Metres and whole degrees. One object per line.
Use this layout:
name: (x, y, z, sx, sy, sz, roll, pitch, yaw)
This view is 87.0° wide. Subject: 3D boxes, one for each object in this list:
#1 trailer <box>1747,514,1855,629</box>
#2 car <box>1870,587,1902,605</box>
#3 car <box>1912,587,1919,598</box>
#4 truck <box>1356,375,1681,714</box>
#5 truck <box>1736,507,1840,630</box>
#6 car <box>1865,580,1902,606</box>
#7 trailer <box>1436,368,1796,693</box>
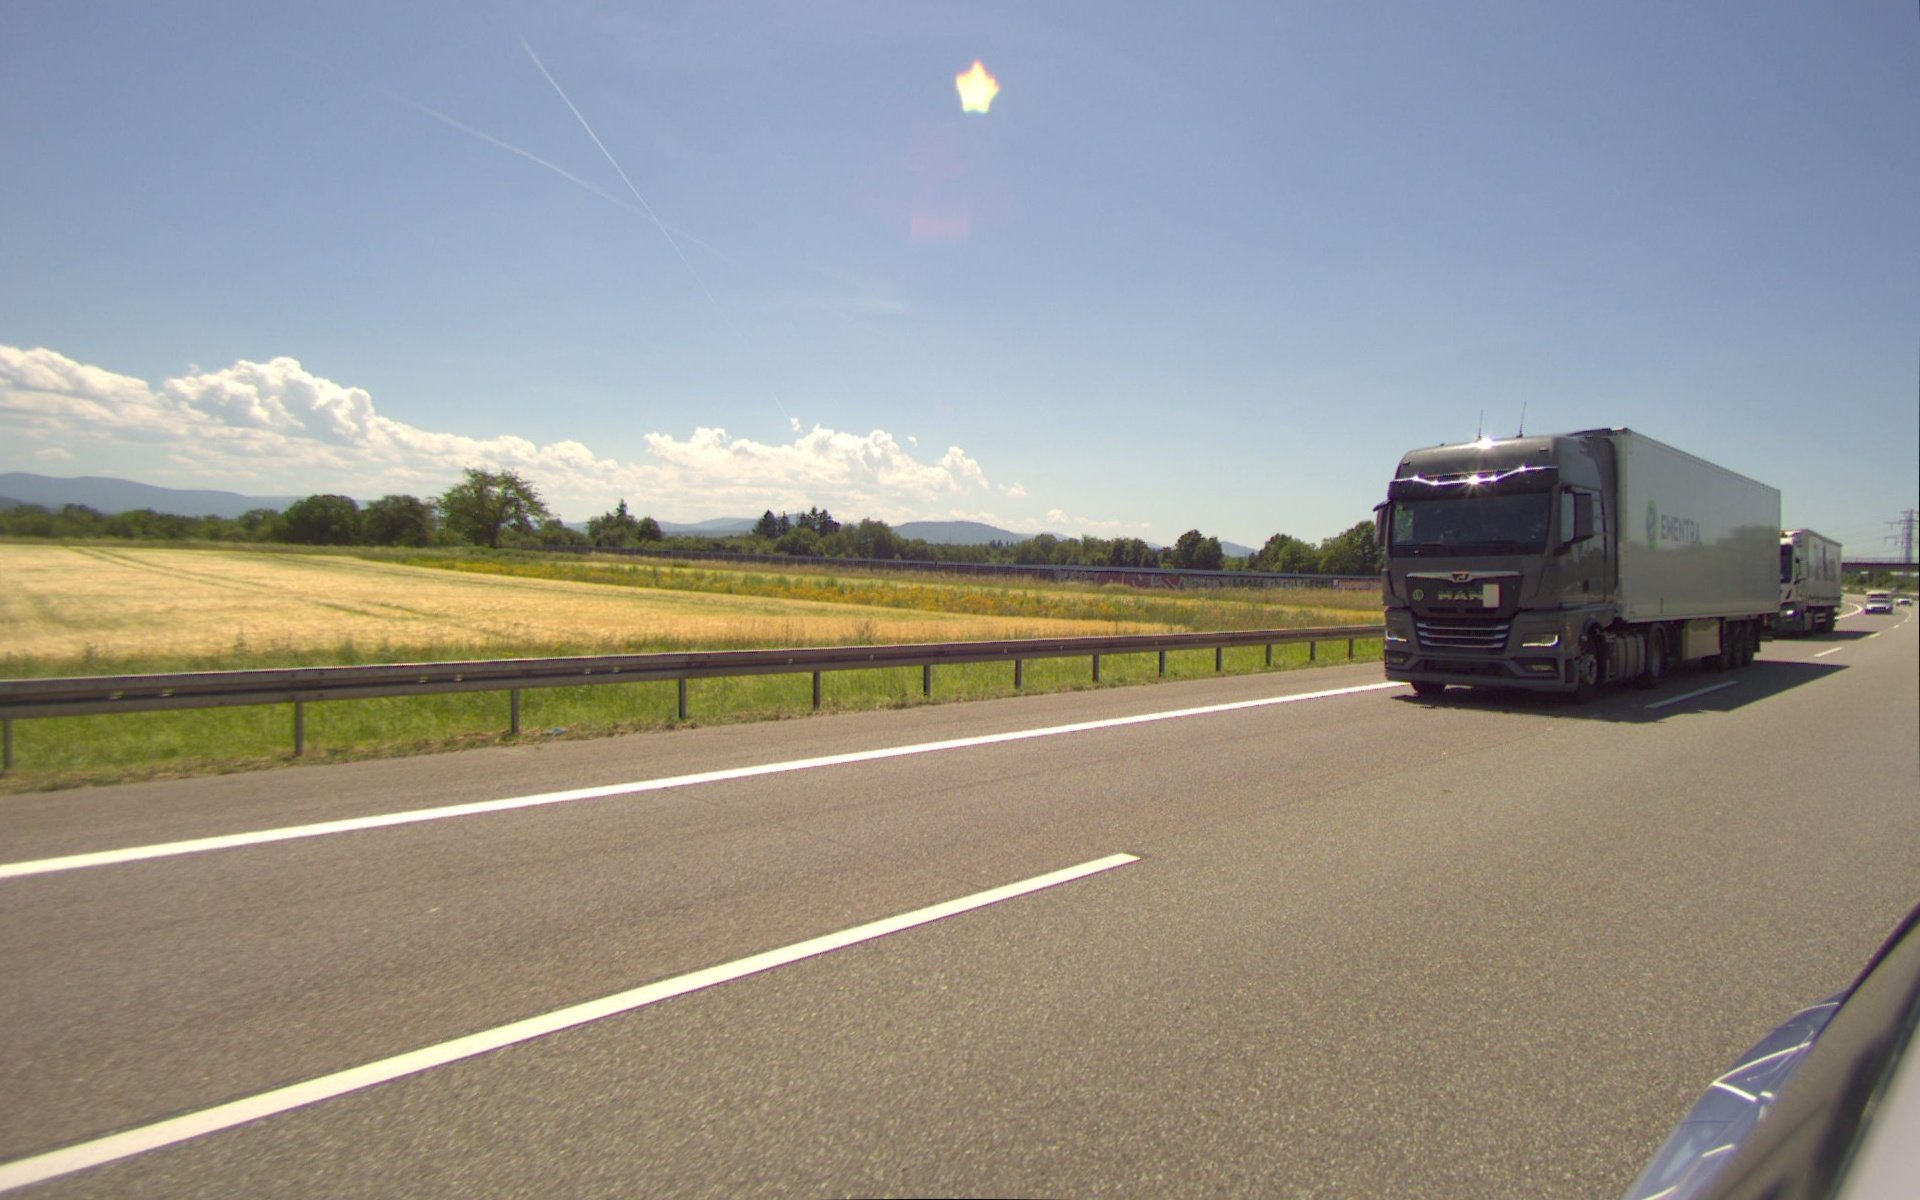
trailer: (36.321, -1.111, 43.454, 2.596, 4.305, 13.423, 0, 0, 44)
car: (83.419, -0.382, 91.190, 1.776, 1.494, 3.945, 2, 2, 38)
car: (146.913, -1.159, 154.737, 1.642, 1.585, 3.550, 2, 2, 38)
truck: (8.691, -0.737, 15.594, 4.889, 4.309, 2.913, 0, 1, -41)
truck: (31.210, -1.097, 38.082, 2.601, 4.310, 5.007, 0, 0, 44)
car: (87.695, -0.709, 96.127, 2.179, 2.294, 4.883, 2, 2, 38)
trailer: (13.910, -1.082, 20.453, 13.751, 4.716, 2.904, -1, 1, -43)
